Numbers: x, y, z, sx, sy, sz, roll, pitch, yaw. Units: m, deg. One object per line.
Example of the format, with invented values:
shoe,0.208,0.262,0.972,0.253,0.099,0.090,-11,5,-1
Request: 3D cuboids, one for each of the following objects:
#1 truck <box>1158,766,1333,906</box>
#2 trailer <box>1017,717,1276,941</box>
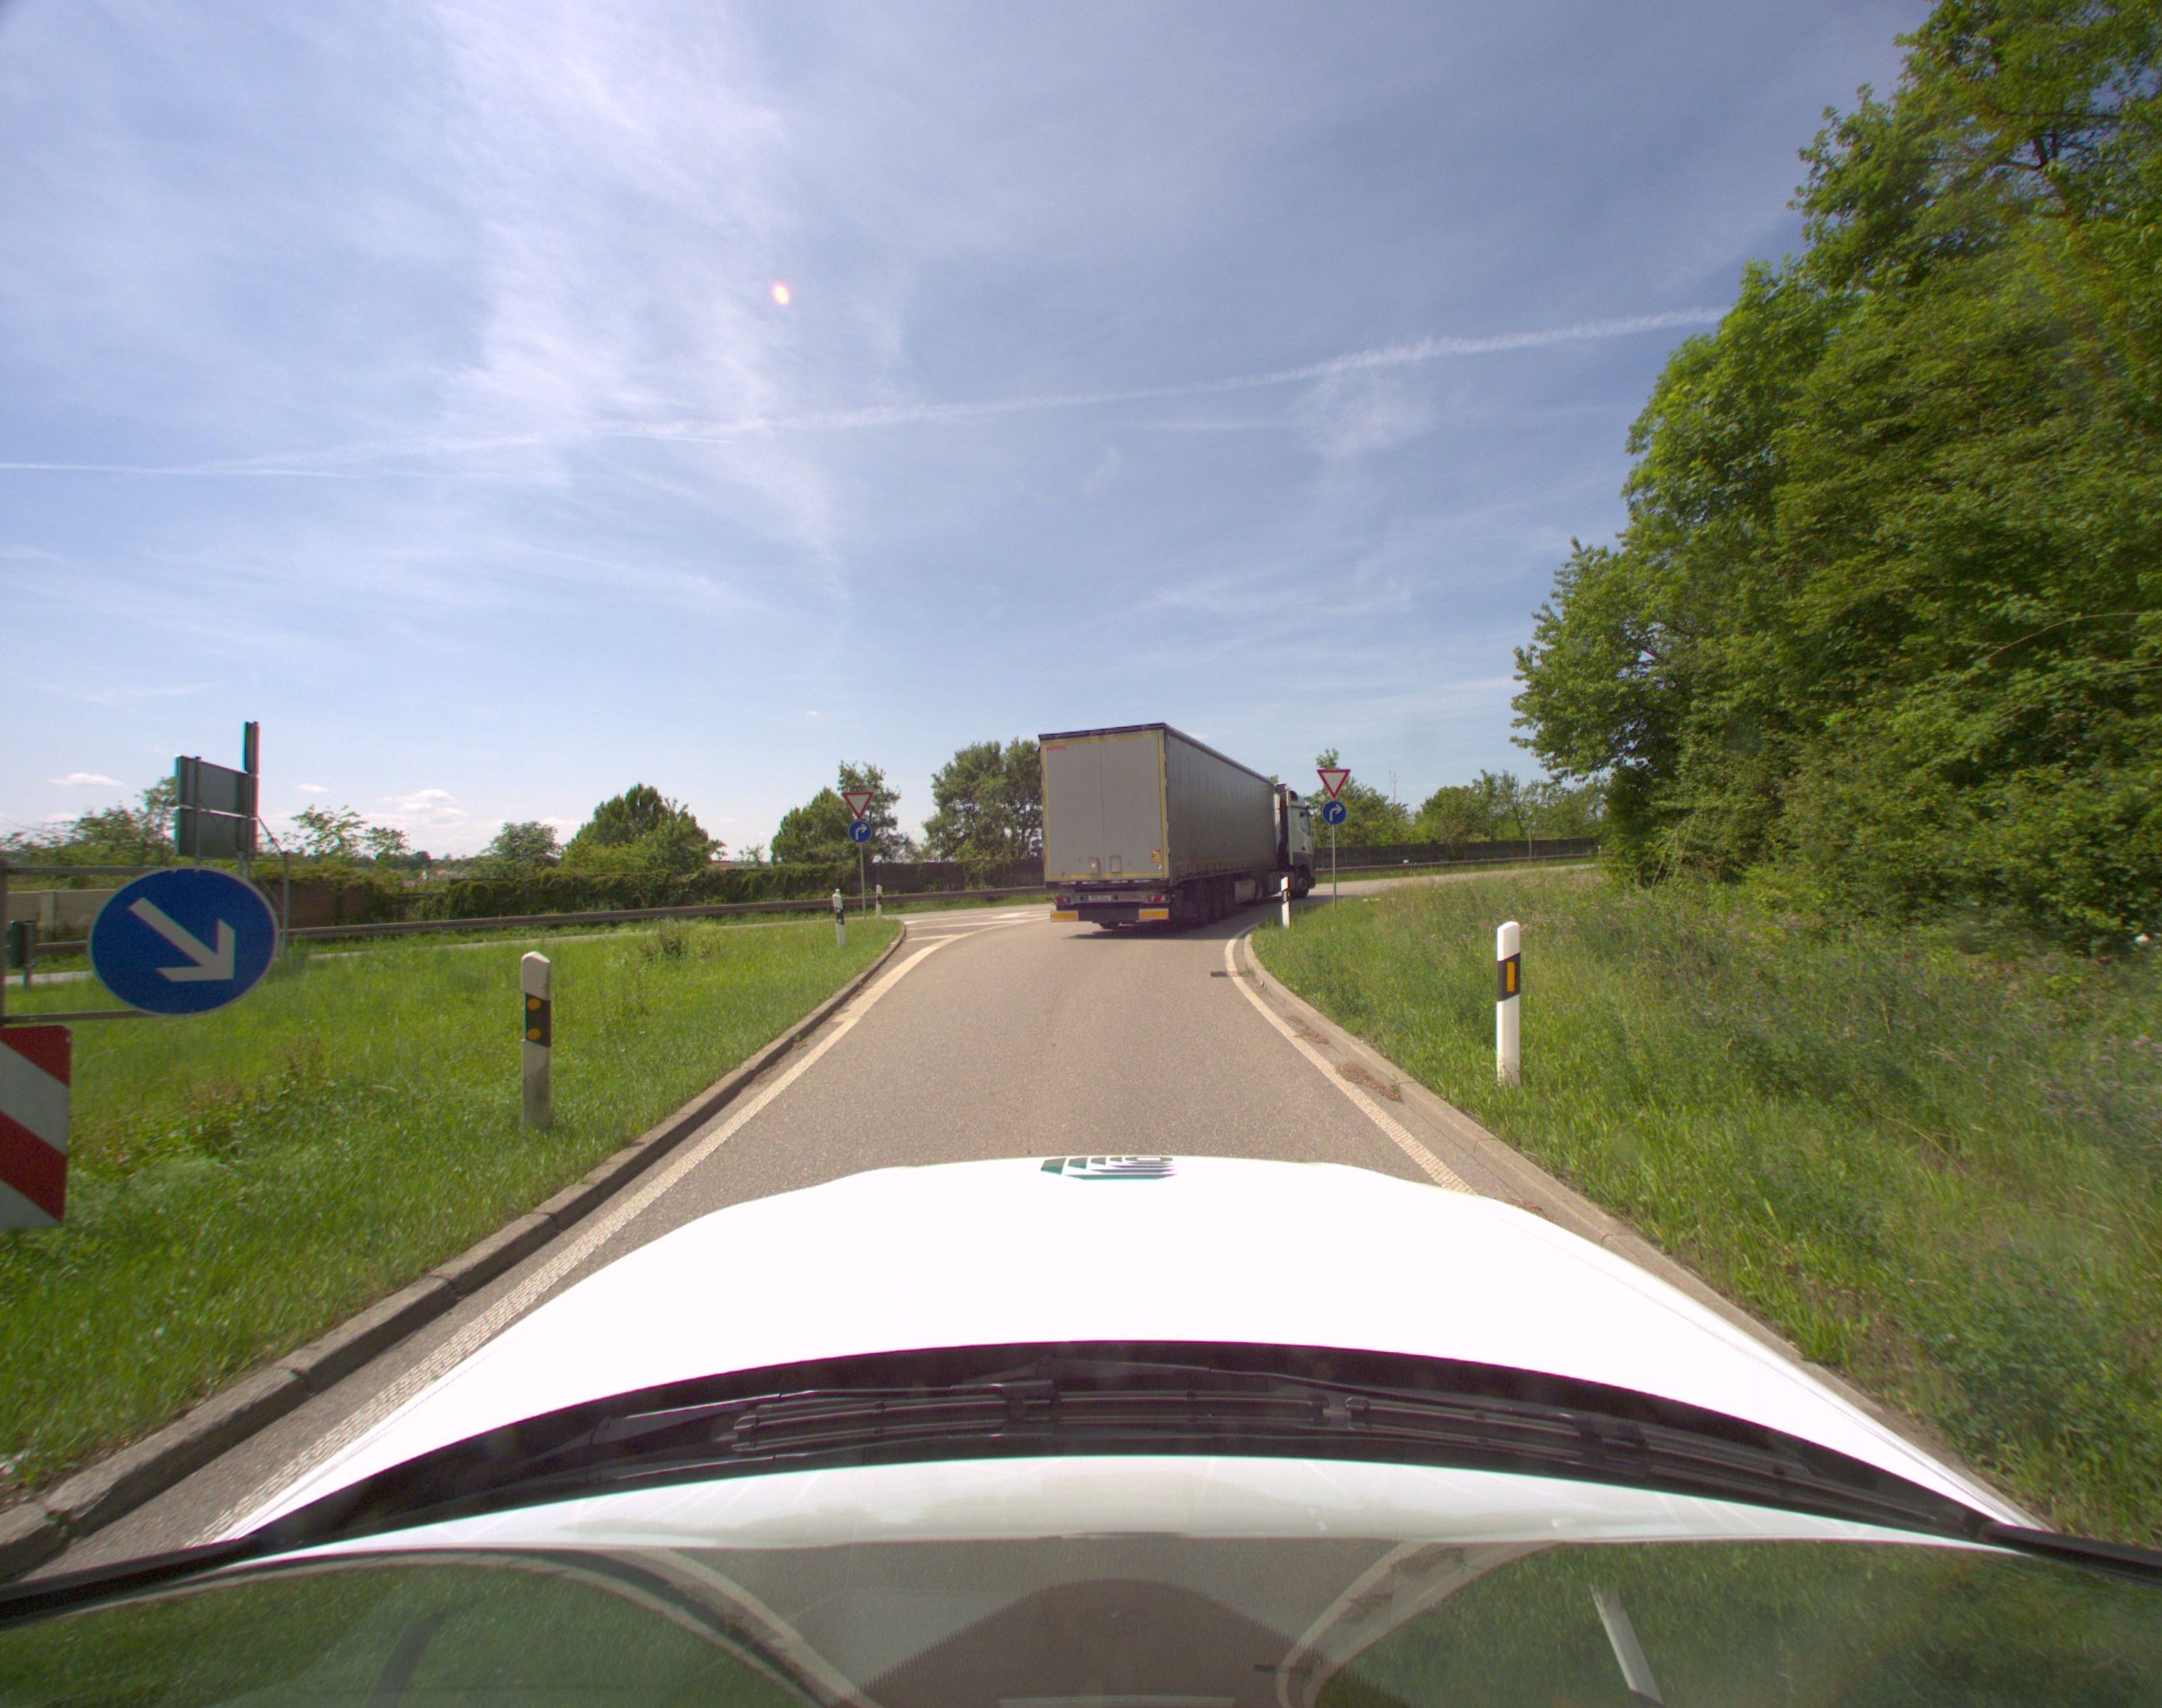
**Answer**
truck,5.954,-0.570,28.512,3.122,4.224,7.168,-2,0,36
trailer,2.632,-0.412,21.453,3.001,4.035,13.421,-2,-1,21
